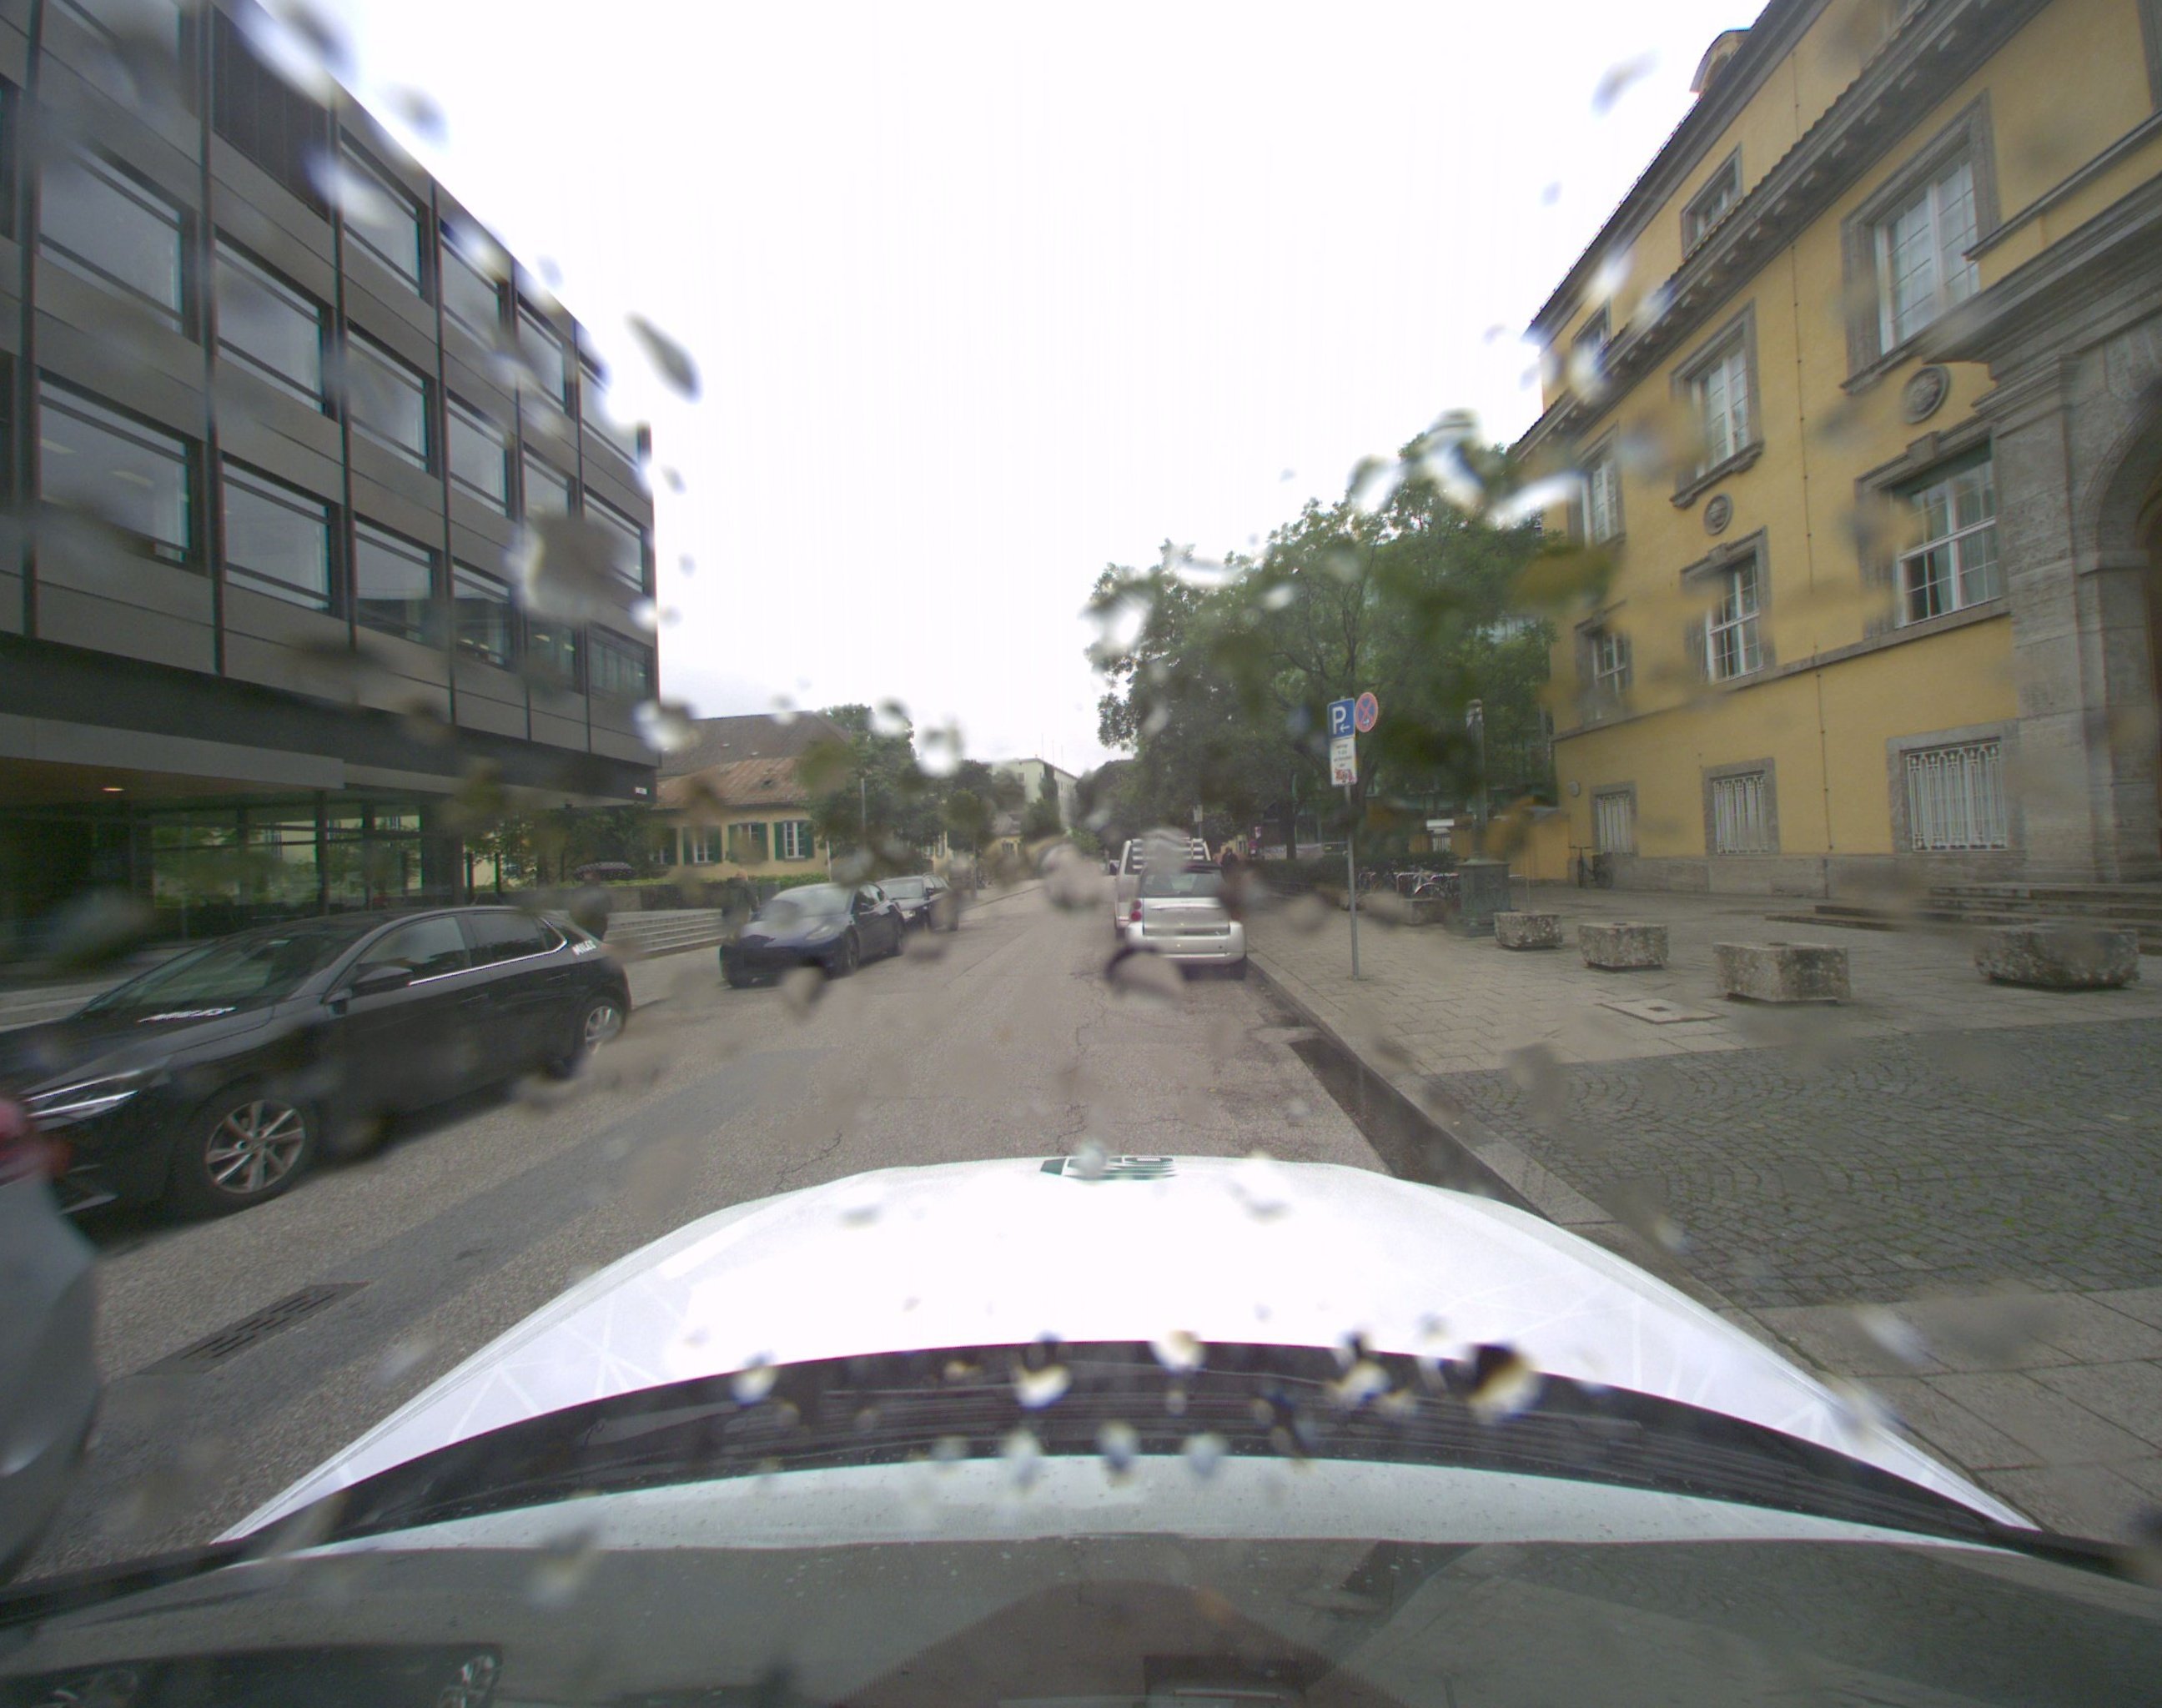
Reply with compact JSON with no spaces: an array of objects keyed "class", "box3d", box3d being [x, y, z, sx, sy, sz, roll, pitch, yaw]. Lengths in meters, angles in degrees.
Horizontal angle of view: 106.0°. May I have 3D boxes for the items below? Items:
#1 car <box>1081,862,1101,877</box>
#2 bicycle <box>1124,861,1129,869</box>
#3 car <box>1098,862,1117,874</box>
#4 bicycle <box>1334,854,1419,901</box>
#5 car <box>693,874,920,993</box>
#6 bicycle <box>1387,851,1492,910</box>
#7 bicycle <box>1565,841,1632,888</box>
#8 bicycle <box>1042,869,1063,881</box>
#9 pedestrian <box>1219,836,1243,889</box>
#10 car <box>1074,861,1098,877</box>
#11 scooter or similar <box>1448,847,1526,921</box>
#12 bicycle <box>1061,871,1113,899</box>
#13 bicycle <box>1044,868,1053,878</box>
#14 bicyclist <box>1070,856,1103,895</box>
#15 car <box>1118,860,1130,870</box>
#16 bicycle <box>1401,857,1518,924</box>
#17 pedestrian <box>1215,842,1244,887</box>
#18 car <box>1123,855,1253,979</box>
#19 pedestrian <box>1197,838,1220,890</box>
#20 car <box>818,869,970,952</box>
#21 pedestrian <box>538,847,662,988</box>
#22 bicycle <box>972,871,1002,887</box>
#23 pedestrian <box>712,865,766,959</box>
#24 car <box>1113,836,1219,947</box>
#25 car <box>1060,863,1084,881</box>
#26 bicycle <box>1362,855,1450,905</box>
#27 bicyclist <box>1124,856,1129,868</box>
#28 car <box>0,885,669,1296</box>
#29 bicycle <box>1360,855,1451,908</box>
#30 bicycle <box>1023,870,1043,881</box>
[{"class":"car","box3d":[1.179,1.759,92.484,1.984,1.603,4.005,-2,-2,5]},{"class":"bicycle","box3d":[6.370,1.542,114.037,0.619,1.004,2.141,-3,-1,2]},{"class":"car","box3d":[3.614,1.844,110.154,1.982,1.486,4.009,-3,-1,7]},{"class":"bicycle","box3d":[7.914,0.627,21.841,2.025,1.113,0.471,-4,-1,-1]},{"class":"car","box3d":[-4.251,1.155,13.623,1.916,1.439,4.919,-5,-1,1]},{"class":"bicycle","box3d":[7.593,0.562,17.308,1.922,1.113,0.472,-4,-1,5]},{"class":"bicycle","box3d":[13.523,0.254,21.347,0.540,1.154,1.903,-3,0,2]},{"class":"bicycle","box3d":[-2.456,1.810,70.331,0.615,1.004,2.154,0,0,36]},{"class":"pedestrian","box3d":[6.274,0.355,34.170,0.739,2.135,1.056,-3,-1,2]},{"class":"car","box3d":[0.577,1.589,87.324,1.983,1.648,4.663,-3,-1,6]},{"class":"scooter or similar","box3d":[6.988,0.521,14.036,0.541,1.222,1.000,-3,-1,-42]},{"class":"bicycle","box3d":[0.250,1.220,32.625,2.151,1.004,0.616,-1,-3,-41]},{"class":"bicycle","box3d":[-3.417,2.019,86.643,0.618,1.004,1.622,-2,-2,9]},{"class":"bicyclist","box3d":[0.219,0.842,32.628,1.100,1.498,0.666,-1,-3,-41]},{"class":"car","box3d":[7.519,1.918,141.373,1.801,1.683,4.006,-3,-1,5]},{"class":"bicycle","box3d":[7.103,0.677,15.322,1.925,1.113,0.471,-4,-1,0]},{"class":"pedestrian","box3d":[6.448,0.459,35.375,0.735,1.907,1.062,-4,-1,38]},{"class":"car","box3d":[1.430,0.801,11.714,1.599,1.546,2.936,-1,-1,3]},{"class":"pedestrian","box3d":[5.401,0.413,34.533,0.739,2.135,1.056,-3,-1,2]},{"class":"car","box3d":[-4.121,1.196,18.888,1.985,1.491,4.888,-4,-1,4]},{"class":"pedestrian","box3d":[-7.393,0.937,12.590,1.131,2.055,1.222,-1,-1,2]},{"class":"bicycle","box3d":[-6.429,1.705,55.602,1.921,1.099,0.616,-1,-1,6]},{"class":"pedestrian","box3d":[-6.690,1.110,15.987,0.754,1.749,0.948,-2,-1,-13]},{"class":"car","box3d":[1.589,0.679,16.818,1.838,1.933,5.275,0,-1,2]},{"class":"car","box3d":[-0.795,1.626,74.774,1.725,1.581,3.794,0,0,6]},{"class":"bicycle","box3d":[8.092,0.638,20.341,1.923,1.113,0.472,-4,-1,4]},{"class":"bicyclist","box3d":[6.367,1.107,113.993,0.740,1.576,0.978,-3,-1,2]},{"class":"car","box3d":[-4.834,1.069,5.336,1.732,1.461,4.242,-5,-1,4]},{"class":"bicycle","box3d":[7.782,0.654,19.563,1.922,1.113,0.472,-4,-1,5]},{"class":"bicycle","box3d":[-4.404,1.974,74.640,1.620,0.926,0.647,-2,-2,-22]}]
